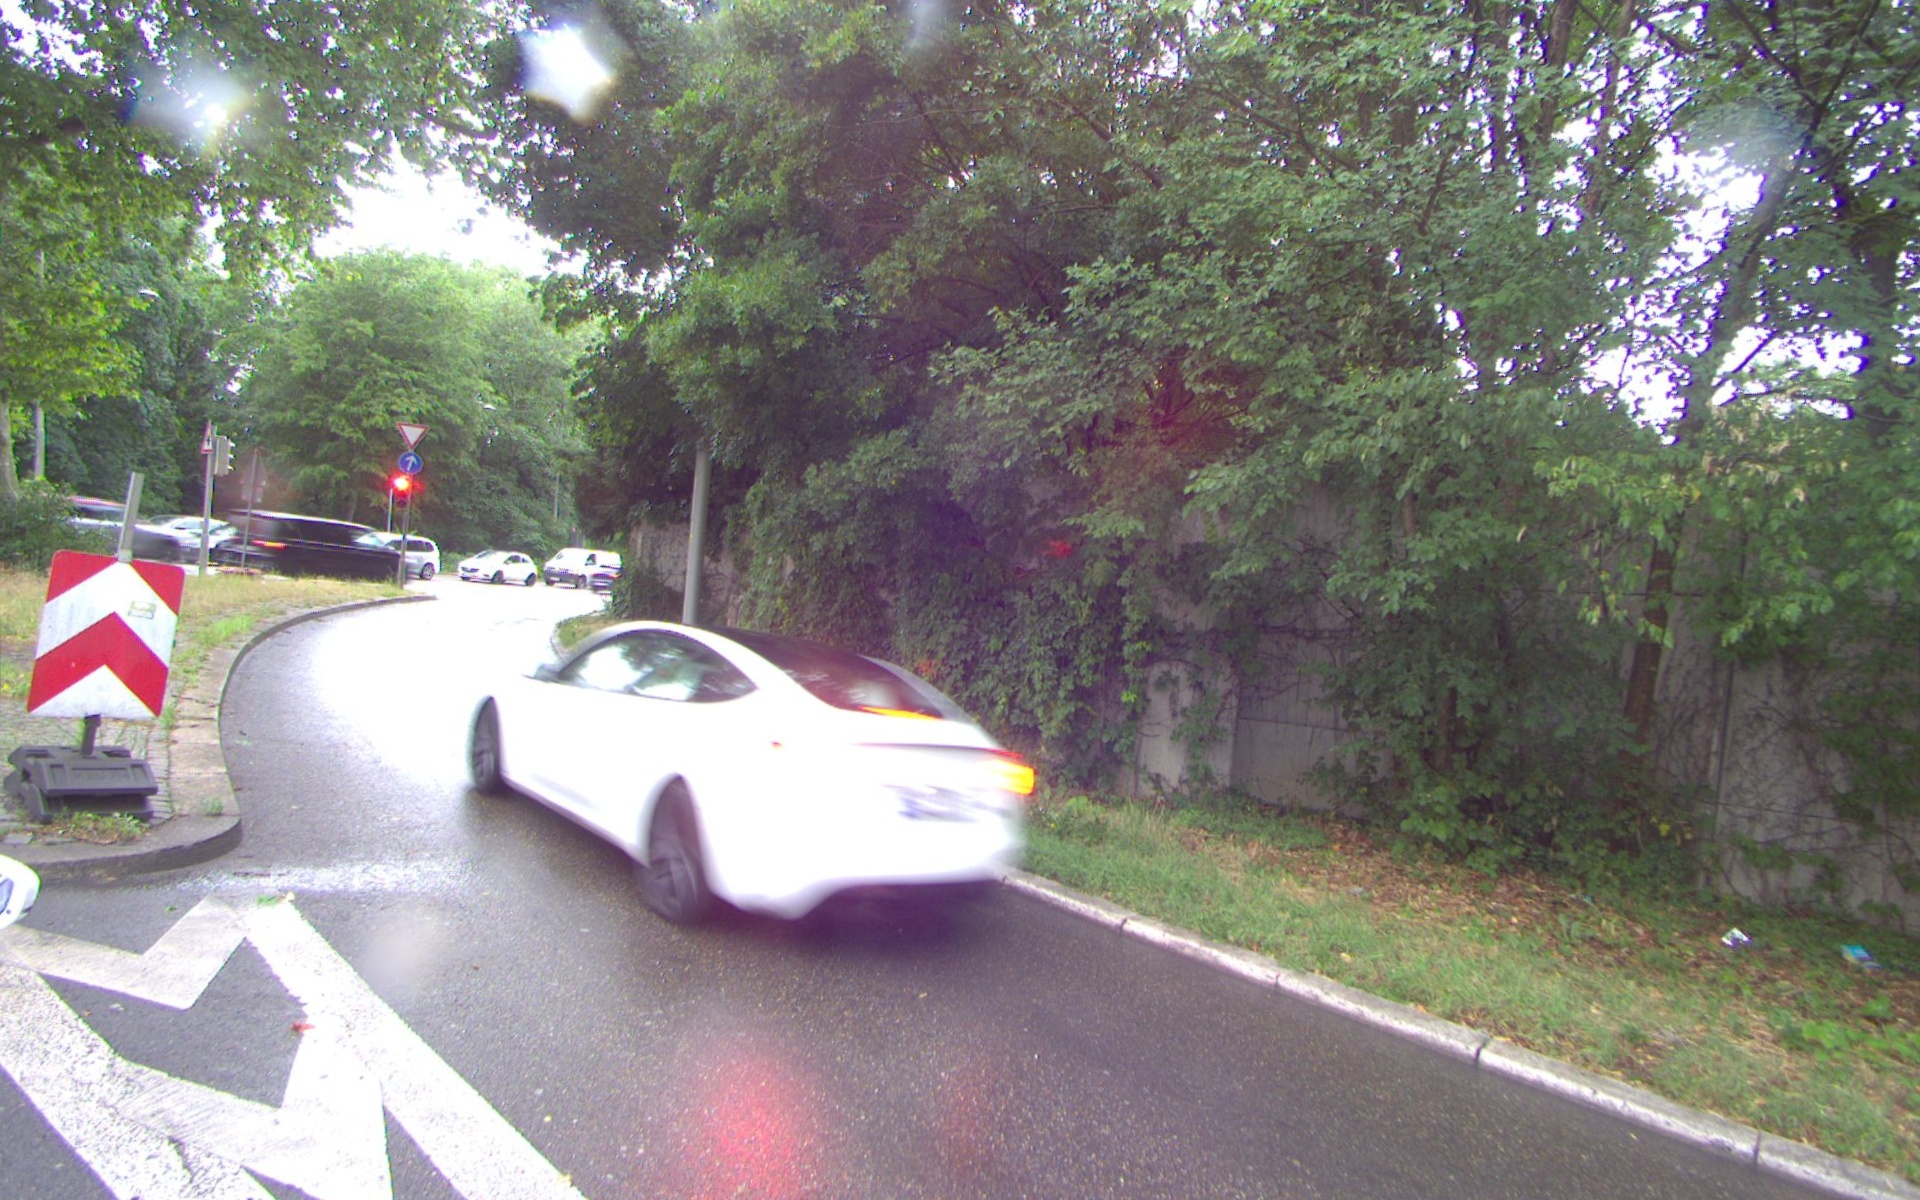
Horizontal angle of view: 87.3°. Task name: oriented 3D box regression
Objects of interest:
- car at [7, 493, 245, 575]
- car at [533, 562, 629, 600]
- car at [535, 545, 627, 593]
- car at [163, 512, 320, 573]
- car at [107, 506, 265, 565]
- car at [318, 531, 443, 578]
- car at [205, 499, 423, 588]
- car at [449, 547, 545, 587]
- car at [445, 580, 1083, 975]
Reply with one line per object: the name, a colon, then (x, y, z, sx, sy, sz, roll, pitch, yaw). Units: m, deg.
car: (-22.206, -1.699, 27.016, 1.847, 1.659, 4.520, 7, 1, 23)
car: (-16.993, -0.820, 45.322, 1.556, 1.465, 4.143, 6, 2, 22)
car: (-19.077, -1.519, 50.872, 1.872, 1.946, 4.862, 6, 0, 12)
car: (-23.205, -1.809, 32.657, 1.641, 1.503, 3.867, 6, -1, 17)
car: (-26.660, -2.181, 34.825, 1.843, 1.504, 4.002, 6, -1, 12)
car: (-21.953, -1.686, 38.322, 1.740, 1.506, 4.272, 5, 2, 10)
car: (-18.183, -1.510, 28.684, 1.962, 1.868, 5.095, 6, -1, 15)
car: (-20.554, -1.424, 44.818, 1.740, 1.506, 3.998, 5, 2, 12)
car: (-1.514, 0.837, 6.331, 1.832, 1.448, 4.221, 11, -4, -43)
